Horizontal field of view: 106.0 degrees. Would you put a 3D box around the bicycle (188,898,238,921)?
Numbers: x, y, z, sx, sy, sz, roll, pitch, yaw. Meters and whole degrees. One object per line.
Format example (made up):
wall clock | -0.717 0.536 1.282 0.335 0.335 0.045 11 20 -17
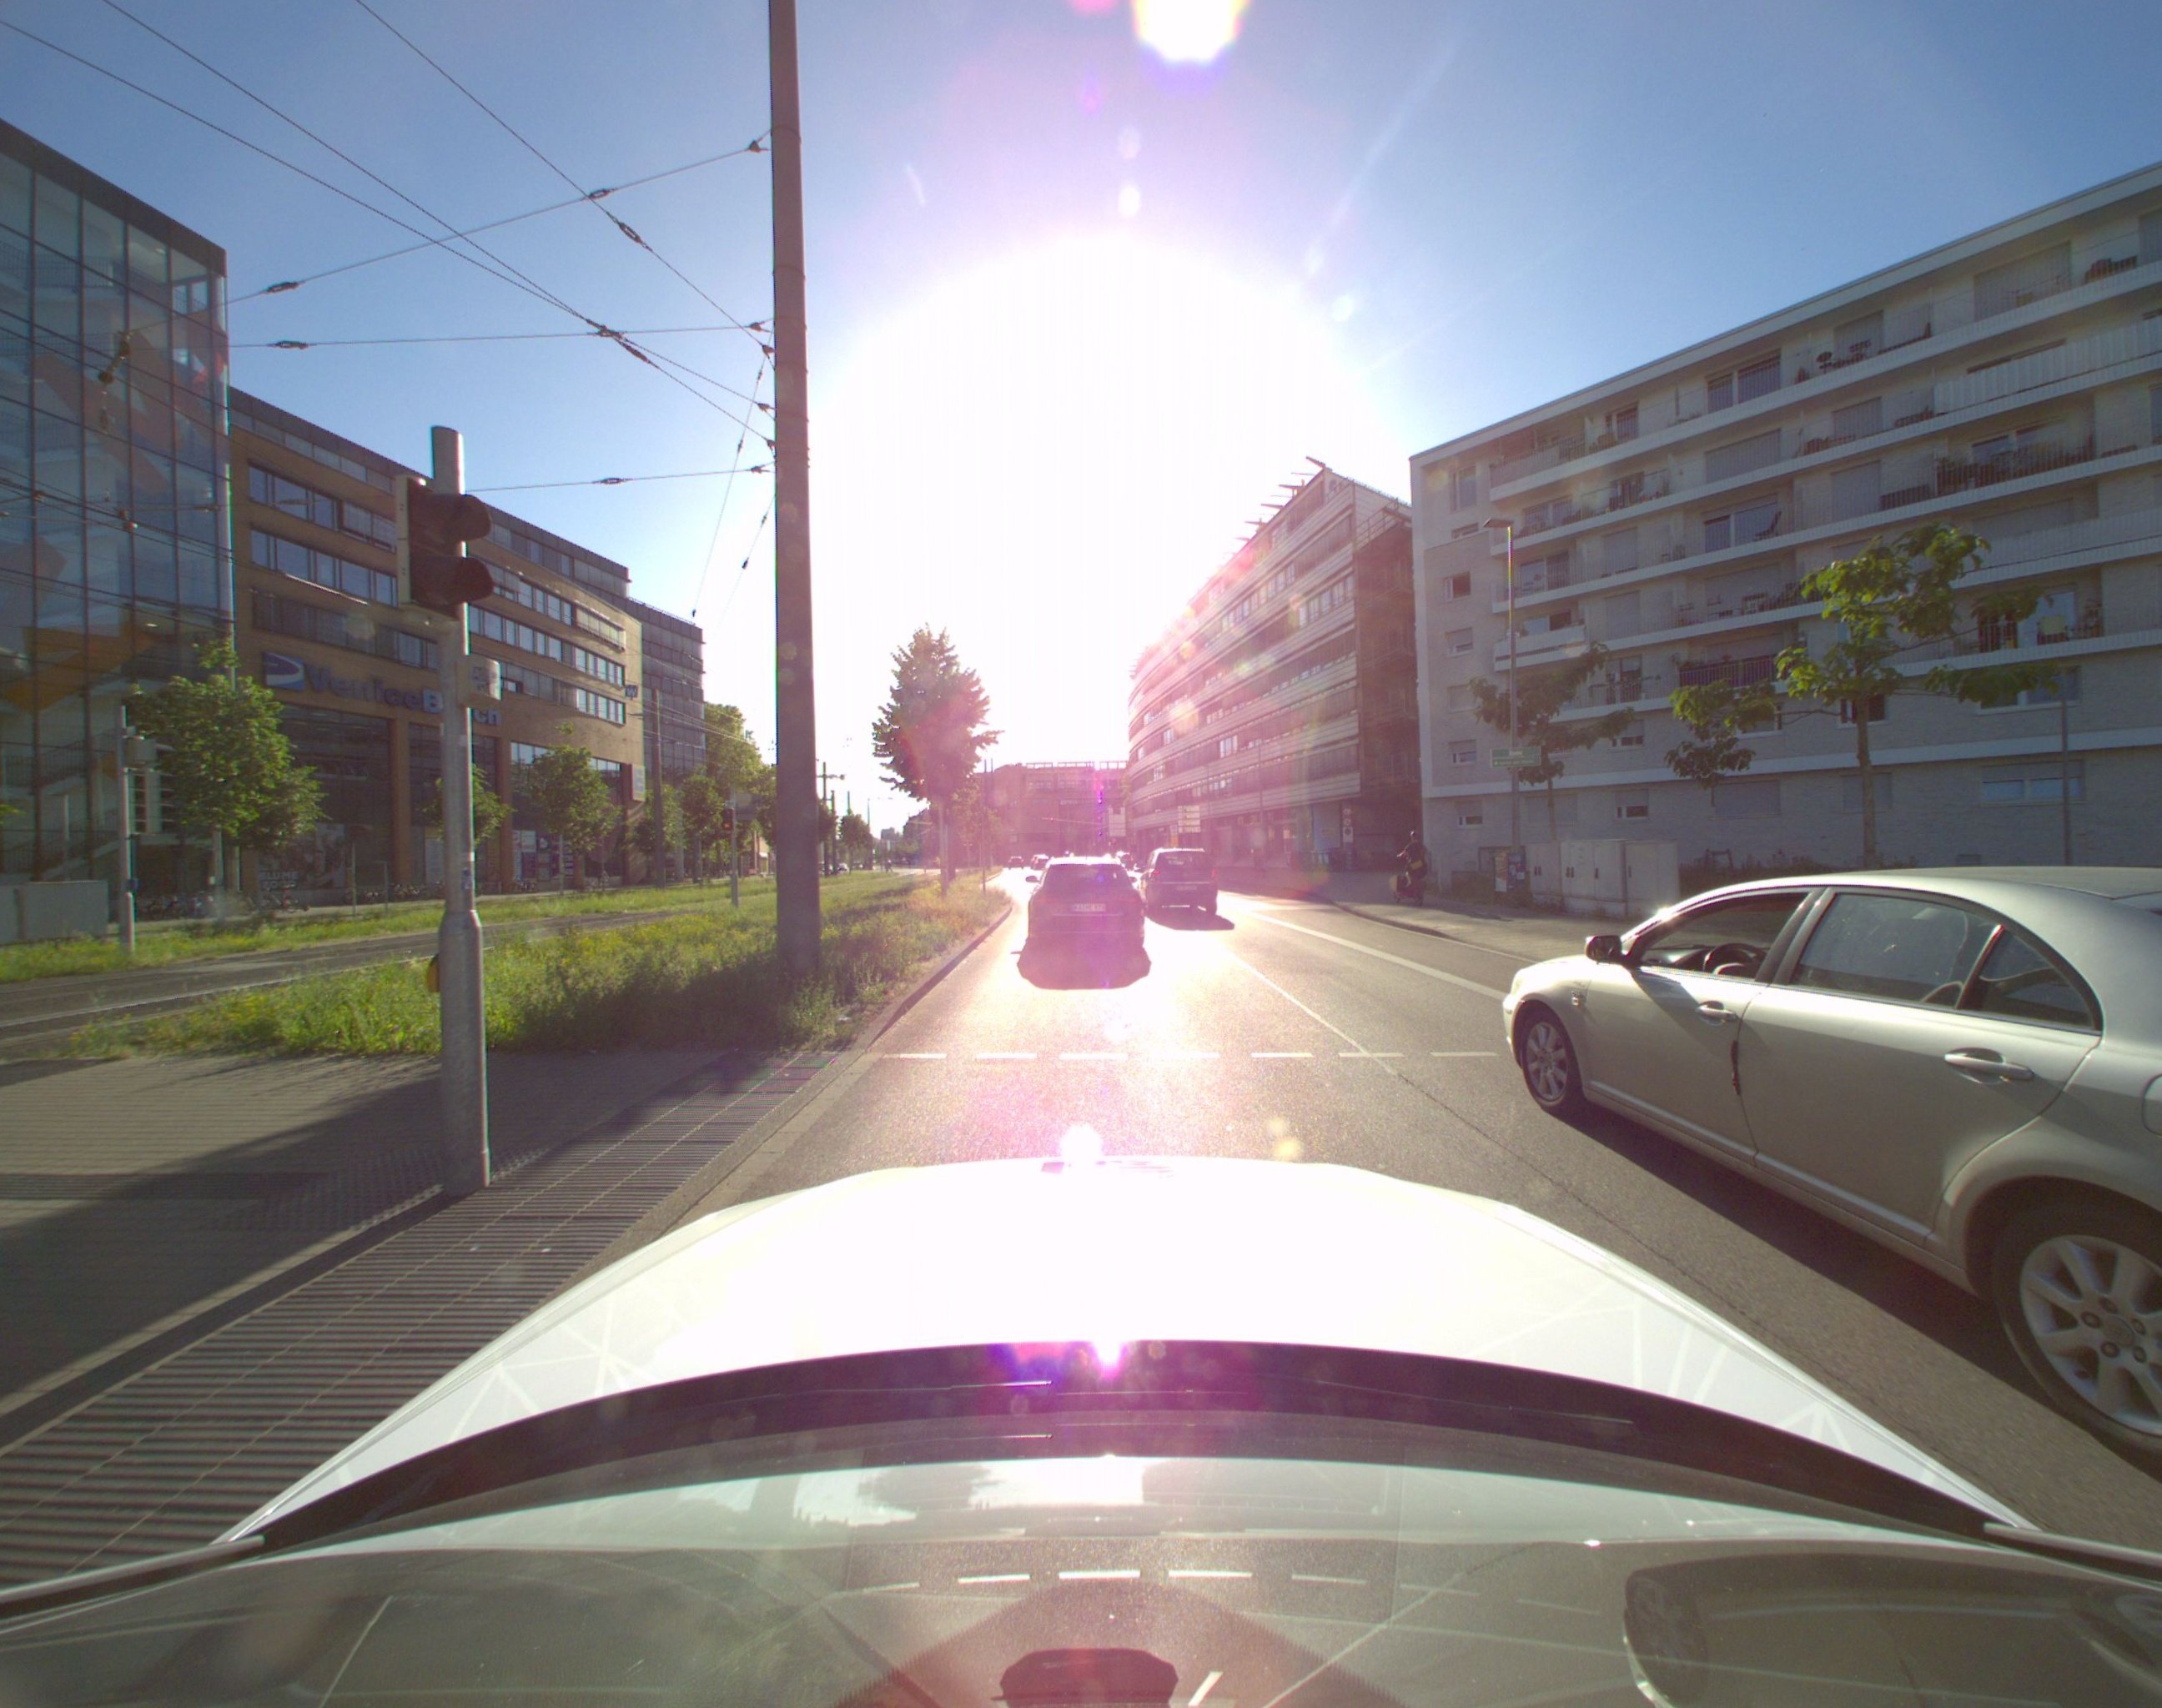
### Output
bicycle | -36.547 2.339 34.293 1.754 0.926 0.566 -2 0 10

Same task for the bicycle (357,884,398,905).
bicycle | -37.610 2.148 43.535 1.759 1.049 0.491 -2 0 1

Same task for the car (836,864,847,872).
car | -47.752 2.701 162.297 1.752 1.505 3.851 -2 0 -22

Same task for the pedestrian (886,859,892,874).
pedestrian | -23.605 1.534 100.100 0.632 1.830 0.660 -2 0 -12

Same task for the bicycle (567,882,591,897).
bicycle | -30.887 2.180 50.138 0.462 0.868 1.768 -2 0 -5

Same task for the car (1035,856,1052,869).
car | -4.023 0.905 87.468 1.734 1.349 3.994 -2 0 -4

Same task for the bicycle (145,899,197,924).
bicycle | -36.807 2.330 32.936 1.754 0.926 0.566 -2 0 10

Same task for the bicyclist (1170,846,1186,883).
bicyclist | 4.851 0.529 40.696 0.576 1.791 0.862 -2 0 -4

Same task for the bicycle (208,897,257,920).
bicycle | -36.458 2.344 34.993 1.754 0.926 0.566 -2 0 10

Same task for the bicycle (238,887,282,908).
bicycle | -39.057 2.072 38.745 1.754 0.926 0.566 -2 0 10

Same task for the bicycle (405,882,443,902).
bicycle | -37.434 2.171 46.431 1.759 1.049 0.491 -2 0 1

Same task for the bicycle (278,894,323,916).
bicycle | -35.973 2.362 37.548 1.754 0.926 0.566 -2 0 10

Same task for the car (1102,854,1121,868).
car | 3.531 0.818 95.628 1.988 1.651 3.998 -2 0 -1

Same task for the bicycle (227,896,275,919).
bicycle | -36.347 2.349 35.666 1.754 0.926 0.566 -2 0 10

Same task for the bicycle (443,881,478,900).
bicycle | -37.380 2.192 49.068 1.759 1.049 0.491 -2 0 1

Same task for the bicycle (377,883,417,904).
bicycle | -37.558 2.158 44.700 1.759 1.049 0.491 -2 0 1

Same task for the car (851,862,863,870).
car | -44.468 2.450 161.581 1.752 1.505 3.851 -2 0 -22

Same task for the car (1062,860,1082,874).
car | -0.956 1.332 84.483 1.804 1.457 3.994 -1 0 -4

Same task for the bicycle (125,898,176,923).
bicycle | -36.880 2.240 32.289 1.754 0.926 0.492 -2 0 10

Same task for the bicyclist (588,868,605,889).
bicyclist | -35.421 1.778 59.532 0.677 1.465 1.013 -1 0 -8

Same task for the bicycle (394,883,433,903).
bicycle | -37.465 2.165 45.719 1.759 1.049 0.491 -2 0 1

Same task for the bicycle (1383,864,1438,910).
bicycle | 8.046 0.772 19.980 0.497 1.032 2.207 -2 0 2

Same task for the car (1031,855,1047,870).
car | -4.934 0.968 94.471 1.734 1.651 3.994 -2 0 -4

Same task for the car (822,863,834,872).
car | -50.474 2.741 162.351 1.999 1.596 4.709 -3 0 -18

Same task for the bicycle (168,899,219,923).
bicycle | -36.646 2.335 33.627 1.754 0.926 0.566 -2 0 10

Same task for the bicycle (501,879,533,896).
bicycle | -37.654 2.249 54.369 1.759 1.049 0.491 -2 0 1

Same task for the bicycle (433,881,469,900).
bicycle | -37.409 2.186 48.383 1.759 1.049 0.491 -2 0 1

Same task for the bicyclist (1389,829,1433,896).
bicyclist | 8.023 0.203 19.832 0.622 1.566 1.043 -2 0 1

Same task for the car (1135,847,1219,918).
car | 2.421 0.688 21.526 1.682 1.629 4.462 -2 0 0

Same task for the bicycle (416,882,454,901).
bicycle | -37.377 2.176 47.113 1.759 1.049 0.491 -2 0 1

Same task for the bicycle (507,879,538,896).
bicycle | -37.678 2.254 54.976 1.759 1.049 0.491 -2 0 1

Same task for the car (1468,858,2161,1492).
car | 3.478 0.763 3.422 1.743 1.431 4.492 -2 0 3

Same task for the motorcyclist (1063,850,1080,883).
motorcyclist | -0.456 0.584 38.560 0.743 1.530 1.020 -2 0 -3

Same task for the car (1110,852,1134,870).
car | 4.108 0.712 82.452 1.988 1.750 4.325 -2 0 -2

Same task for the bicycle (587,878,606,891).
bicycle | -35.394 2.232 59.497 0.498 0.910 1.883 -1 0 -8

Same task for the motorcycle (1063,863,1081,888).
motorcycle | -0.447 1.015 38.930 0.773 1.115 1.967 -2 0 -2

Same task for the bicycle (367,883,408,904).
bicycle | -37.570 2.153 44.114 1.759 1.049 0.491 -2 0 1

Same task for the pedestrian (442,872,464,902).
pedestrian | -36.022 1.892 46.719 0.742 1.668 0.675 -2 0 0

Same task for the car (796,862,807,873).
car | -54.413 2.658 158.630 1.999 2.013 3.975 -2 0 -18

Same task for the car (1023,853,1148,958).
car | 0.075 0.769 14.247 1.805 1.492 4.495 -2 0 0

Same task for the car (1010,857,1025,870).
car | -7.327 1.056 93.629 1.646 1.433 3.994 -2 0 -4

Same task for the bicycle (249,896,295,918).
bicycle | -36.160 2.354 36.402 1.754 0.926 0.566 -2 0 10

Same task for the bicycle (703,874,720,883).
bicycle | -42.910 2.867 94.581 1.778 0.951 0.536 -2 0 -32

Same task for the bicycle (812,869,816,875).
bicycle | -51.219 3.426 156.032 0.651 1.085 2.909 -2 0 -17
